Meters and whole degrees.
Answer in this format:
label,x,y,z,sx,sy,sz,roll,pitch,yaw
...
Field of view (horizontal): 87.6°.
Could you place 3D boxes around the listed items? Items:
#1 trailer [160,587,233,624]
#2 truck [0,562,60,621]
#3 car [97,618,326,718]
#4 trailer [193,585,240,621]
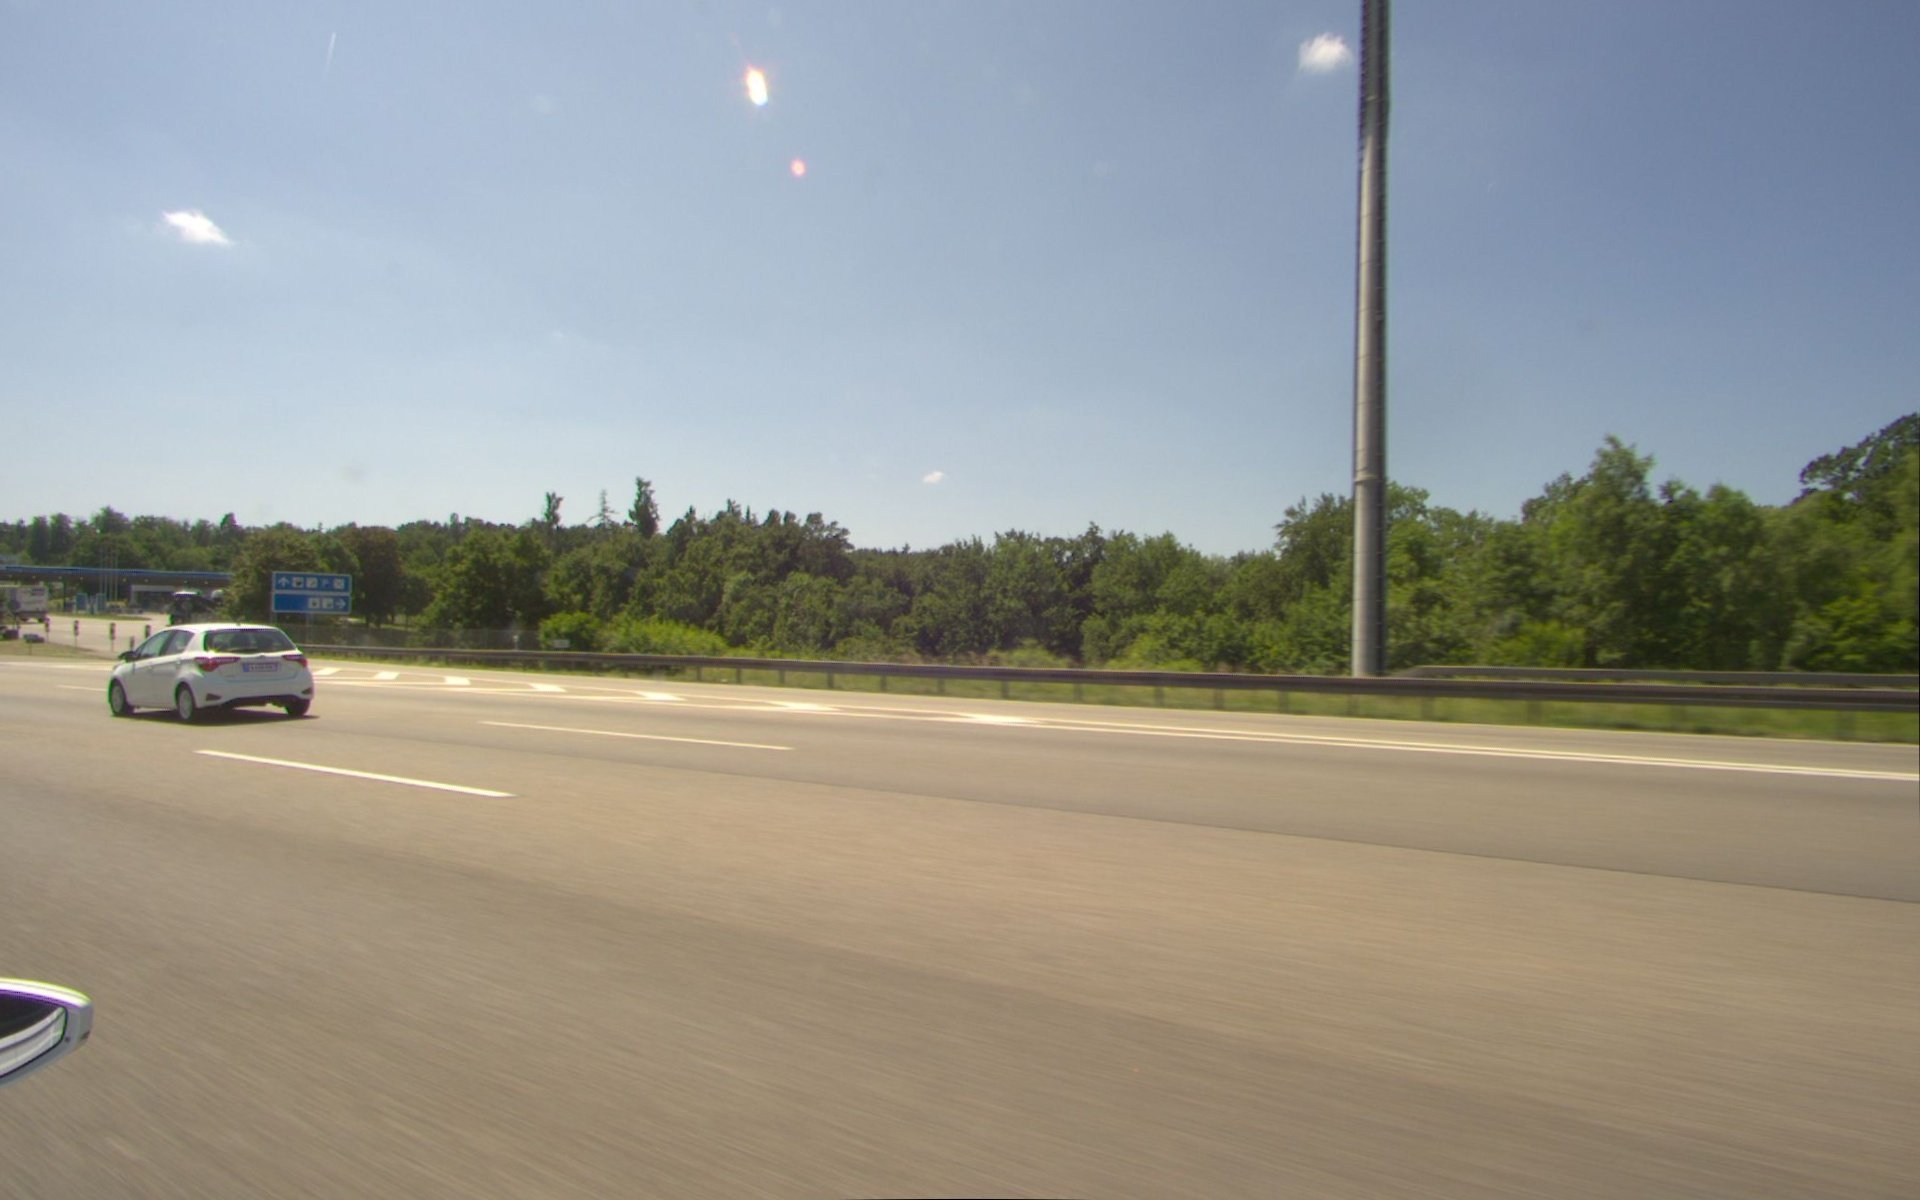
label,x,y,z,sx,sy,sz,roll,pitch,yaw
trailer,-81.052,0.529,106.681,3.118,3.686,13.567,0,1,-24
truck,-109.347,-0.777,114.642,15.212,6.348,5.497,-1,-1,33
car,-12.298,1.018,16.381,4.314,1.452,1.662,-1,-1,34
trailer,-83.857,0.351,113.041,3.040,3.951,5.940,0,1,-24
